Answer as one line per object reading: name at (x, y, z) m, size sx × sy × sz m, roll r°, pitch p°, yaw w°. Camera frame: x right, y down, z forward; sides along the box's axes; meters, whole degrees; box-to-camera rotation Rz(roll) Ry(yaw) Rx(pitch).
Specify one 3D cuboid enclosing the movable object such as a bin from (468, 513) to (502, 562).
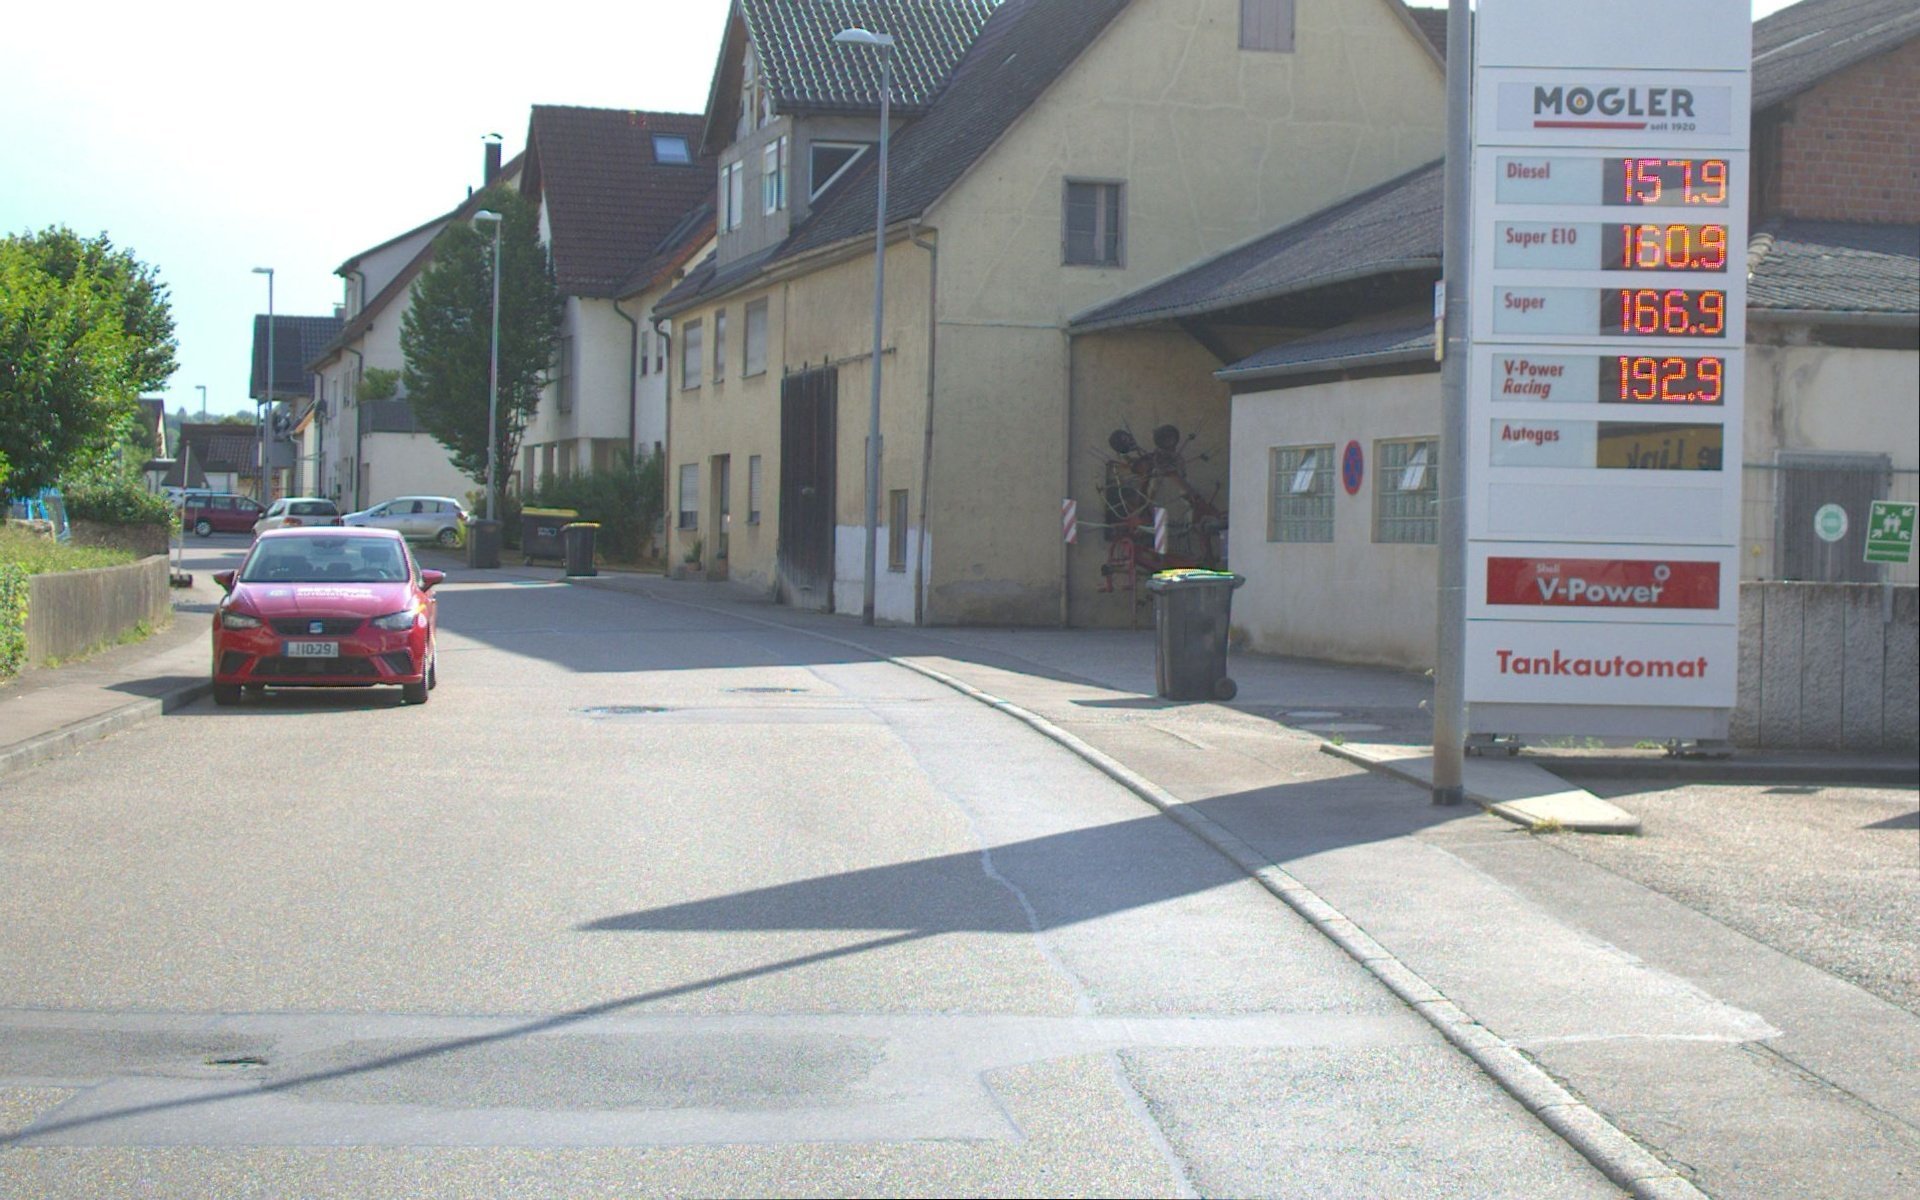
movable object such as a bin at (-10.526, -1.387, 76.192) m, size 0.652 × 1.069 × 0.513 m, roll 1°, pitch 1°, yaw -16°

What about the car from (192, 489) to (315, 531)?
car at (-24.013, -3.065, 116.801) m, size 3.986 × 1.348 × 1.711 m, roll 1°, pitch 1°, yaw -15°

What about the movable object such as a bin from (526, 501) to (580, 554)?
movable object such as a bin at (-9.246, -1.646, 78.100) m, size 1.160 × 1.164 × 0.655 m, roll 1°, pitch 1°, yaw -12°

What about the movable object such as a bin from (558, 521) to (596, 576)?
movable object such as a bin at (-7.558, -1.016, 67.833) m, size 0.652 × 1.069 × 0.513 m, roll 1°, pitch 1°, yaw -16°

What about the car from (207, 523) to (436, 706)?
car at (-5.337, 0.082, 29.092) m, size 1.708 × 1.430 × 3.781 m, roll 0°, pitch 1°, yaw -8°

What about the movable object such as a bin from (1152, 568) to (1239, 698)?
movable object such as a bin at (1.984, 0.275, 29.002) m, size 0.653 × 1.069 × 0.513 m, roll 1°, pitch 1°, yaw -3°

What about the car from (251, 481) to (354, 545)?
car at (-16.955, -2.248, 88.495) m, size 1.704 × 1.573 × 4.001 m, roll 1°, pitch 1°, yaw -24°

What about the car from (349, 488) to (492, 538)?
car at (-15.437, -2.495, 98.365) m, size 3.986 × 1.348 × 1.711 m, roll 1°, pitch 1°, yaw -9°

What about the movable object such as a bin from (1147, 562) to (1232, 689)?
movable object such as a bin at (1.969, 0.214, 29.555) m, size 0.653 × 1.069 × 0.513 m, roll 1°, pitch 1°, yaw -3°
